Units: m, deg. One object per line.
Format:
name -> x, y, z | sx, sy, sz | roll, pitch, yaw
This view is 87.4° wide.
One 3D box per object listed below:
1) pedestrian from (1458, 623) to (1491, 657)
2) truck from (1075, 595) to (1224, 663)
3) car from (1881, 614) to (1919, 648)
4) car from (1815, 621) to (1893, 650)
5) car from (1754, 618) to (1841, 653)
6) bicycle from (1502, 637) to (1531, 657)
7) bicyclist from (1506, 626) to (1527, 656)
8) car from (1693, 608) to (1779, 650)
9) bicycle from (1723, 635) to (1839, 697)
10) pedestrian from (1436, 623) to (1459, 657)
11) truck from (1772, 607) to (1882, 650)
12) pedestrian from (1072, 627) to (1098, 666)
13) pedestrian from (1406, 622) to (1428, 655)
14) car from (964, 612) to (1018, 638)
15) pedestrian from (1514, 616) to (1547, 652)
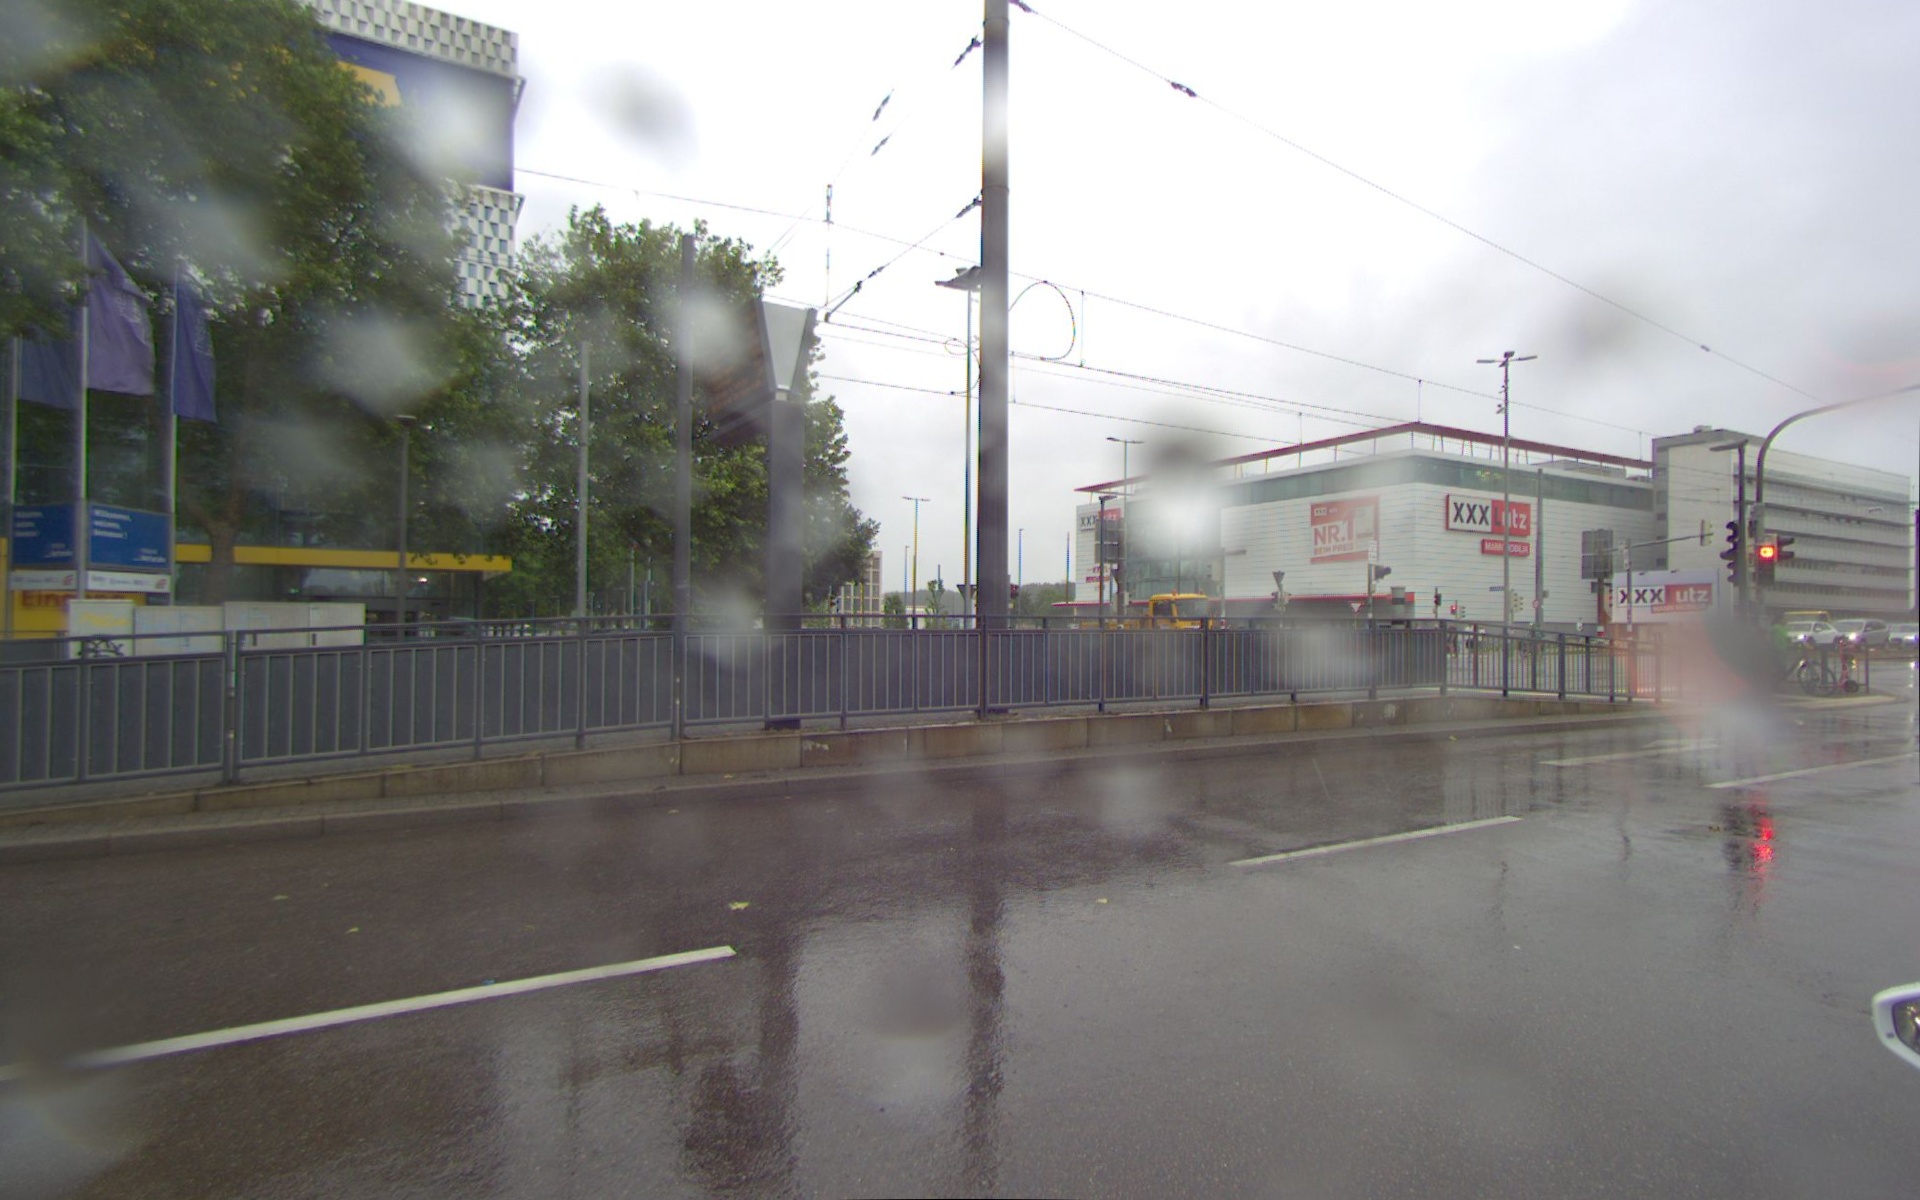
pedestrian -> 25.643, 1.974, 50.091 | 1.064, 1.654, 1.026 | 2, 0, -1
truck -> 8.489, 1.227, 45.995 | 2.612, 2.853, 7.084 | 2, 0, -31
car -> 51.364, 1.678, 53.666 | 3.947, 1.722, 1.886 | 2, 0, -26
car -> 44.949, 1.792, 50.514 | 3.780, 1.354, 1.582 | 2, 0, -26
car -> 39.737, 1.690, 47.671 | 3.823, 1.512, 1.693 | 2, 0, -25
bicycle -> 28.278, 2.391, 51.054 | 1.688, 1.000, 0.448 | 2, 0, -30
bicyclist -> 28.306, 2.064, 51.106 | 0.639, 1.483, 0.681 | 2, 0, -29
car -> 40.414, 1.527, 52.298 | 3.947, 2.040, 1.987 | 2, 0, -26
bicycle -> 16.680, 1.320, 20.454 | 0.409, 1.048, 1.742 | 2, 3, -31
pedestrian -> 24.276, 1.964, 50.030 | 0.914, 1.654, 0.694 | 2, 0, -42
truck -> 49.529, 1.648, 57.310 | 7.542, 2.309, 2.341 | 2, 0, -30
pedestrian -> 5.074, 1.907, 40.904 | 0.863, 1.557, 0.560 | 2, 0, -31
pedestrian -> 23.313, 1.946, 51.232 | 0.914, 1.654, 0.694 | 2, 0, -42
car -> 2.186, 1.752, 70.216 | 3.723, 1.645, 2.001 | 2, 0, 2
pedestrian -> 27.422, 1.623, 48.284 | 0.996, 1.654, 0.917 | 2, 0, -19
